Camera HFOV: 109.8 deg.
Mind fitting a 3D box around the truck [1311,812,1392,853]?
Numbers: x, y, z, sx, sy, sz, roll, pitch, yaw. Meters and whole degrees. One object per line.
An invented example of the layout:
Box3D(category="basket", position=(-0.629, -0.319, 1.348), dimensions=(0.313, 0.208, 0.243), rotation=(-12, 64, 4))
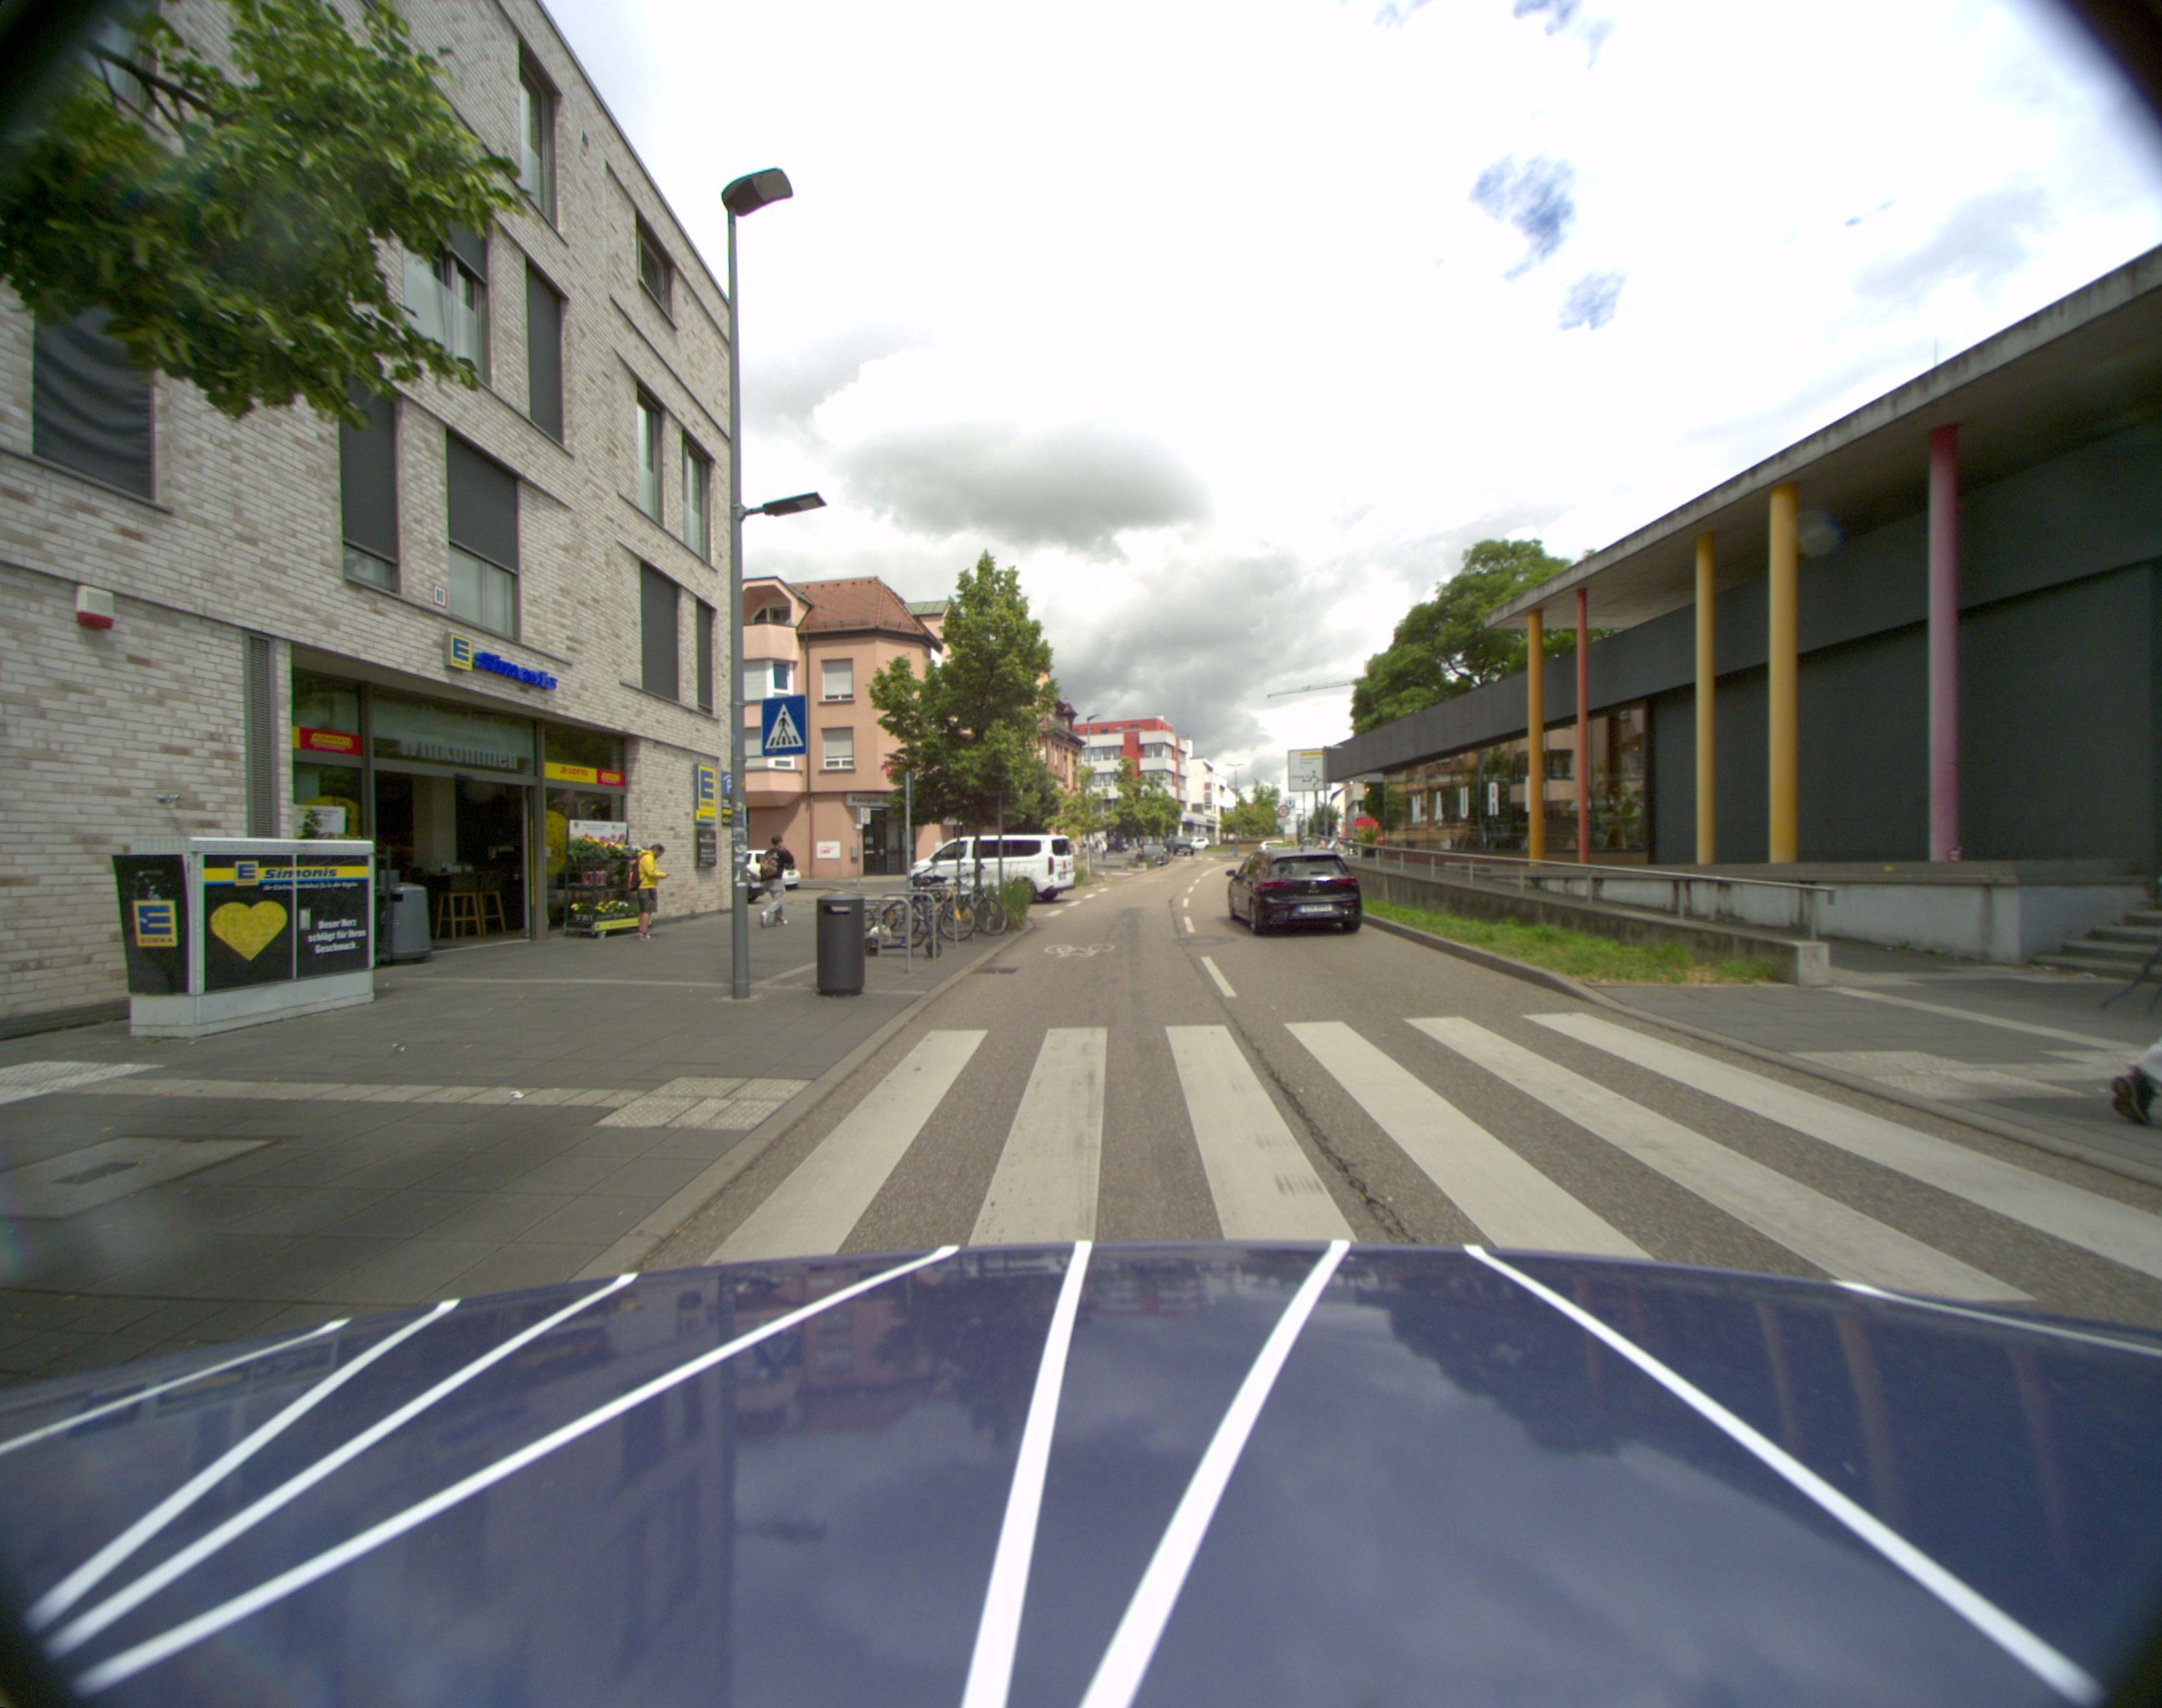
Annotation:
Box3D(category="truck", position=(27.630, -2.229, 77.269), dimensions=(10.867, 3.821, 2.675), rotation=(-4, 3, -40))

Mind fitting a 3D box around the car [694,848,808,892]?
Box3D(category="car", position=(-11.904, 0.549, 27.467), dimensions=(3.386, 1.468, 1.719), rotation=(1, 1, 11))

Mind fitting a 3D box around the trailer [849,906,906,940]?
Box3D(category="trailer", position=(-3.732, 1.258, 13.970), dimensions=(0.721, 0.525, 0.812), rotation=(-1, 1, 9))

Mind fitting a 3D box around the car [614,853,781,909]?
Box3D(category="car", position=(-10.911, 0.738, 21.777), dimensions=(3.902, 1.468, 1.784), rotation=(1, 1, 5))

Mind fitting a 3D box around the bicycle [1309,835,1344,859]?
Box3D(category="bicycle", position=(11.533, -0.326, 35.708), dimensions=(1.549, 1.121, 0.534), rotation=(0, 1, 13))

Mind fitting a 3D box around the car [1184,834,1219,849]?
Box3D(category="car", position=(14.227, -1.447, 89.374), dimensions=(4.007, 1.653, 1.839), rotation=(-4, 3, -39))

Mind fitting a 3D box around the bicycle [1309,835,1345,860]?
Box3D(category="bicycle", position=(11.281, -0.300, 34.879), dimensions=(1.549, 1.121, 0.534), rotation=(0, 1, 13))

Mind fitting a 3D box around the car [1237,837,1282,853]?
Box3D(category="car", position=(16.890, -0.879, 72.098), dimensions=(4.047, 1.391, 1.817), rotation=(-2, 2, 11))

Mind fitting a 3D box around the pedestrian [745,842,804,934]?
Box3D(category="pedestrian", position=(-5.929, 0.636, 14.738), dimensions=(0.659, 1.731, 1.018), rotation=(0, 1, 4))

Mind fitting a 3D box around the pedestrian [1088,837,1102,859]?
Box3D(category="pedestrian", position=(1.036, -0.427, 57.634), dimensions=(0.738, 1.631, 0.677), rotation=(0, 3, 38))

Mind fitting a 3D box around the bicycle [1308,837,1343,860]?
Box3D(category="bicycle", position=(11.672, -0.264, 36.305), dimensions=(1.549, 1.121, 0.534), rotation=(0, 1, 13))

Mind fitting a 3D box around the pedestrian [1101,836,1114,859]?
Box3D(category="pedestrian", position=(2.031, -0.500, 57.840), dimensions=(0.696, 1.649, 0.741), rotation=(-1, 3, 24))

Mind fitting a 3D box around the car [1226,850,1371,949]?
Box3D(category="car", position=(3.740, 0.698, 13.769), dimensions=(1.776, 1.455, 4.236), rotation=(-2, 1, 6))

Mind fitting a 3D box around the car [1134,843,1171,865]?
Box3D(category="car", position=(5.033, -0.006, 52.835), dimensions=(1.996, 1.406, 4.739), rotation=(0, 1, 13))

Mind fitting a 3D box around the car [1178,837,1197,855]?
Box3D(category="car", position=(10.362, -0.829, 73.868), dimensions=(1.802, 1.571, 4.001), rotation=(-2, 2, 9))

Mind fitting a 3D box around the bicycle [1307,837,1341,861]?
Box3D(category="bicycle", position=(11.875, -0.245, 37.151), dimensions=(1.549, 1.121, 0.534), rotation=(0, 1, 13))

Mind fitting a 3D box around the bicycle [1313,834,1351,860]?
Box3D(category="bicycle", position=(11.154, -0.315, 33.839), dimensions=(1.549, 1.121, 0.534), rotation=(0, 1, 13))

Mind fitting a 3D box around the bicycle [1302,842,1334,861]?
Box3D(category="bicycle", position=(13.691, -0.148, 43.904), dimensions=(1.689, 1.075, 0.515), rotation=(0, 0, 8))

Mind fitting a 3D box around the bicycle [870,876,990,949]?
Box3D(category="bicycle", position=(-2.505, 0.957, 12.724), dimensions=(1.826, 1.125, 0.756), rotation=(1, 2, 6))

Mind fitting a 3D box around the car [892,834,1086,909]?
Box3D(category="car", position=(-2.760, 0.523, 22.880), dimensions=(5.382, 2.002, 2.002), rotation=(-2, 1, 20))

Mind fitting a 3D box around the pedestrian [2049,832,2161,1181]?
Box3D(category="pedestrian", position=(5.312, 0.683, 3.395), dimensions=(0.930, 1.556, 0.814), rotation=(-2, 2, -3))

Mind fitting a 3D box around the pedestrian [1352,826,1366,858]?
Box3D(category="pedestrian", position=(14.256, -0.592, 39.000), dimensions=(0.660, 1.619, 0.801), rotation=(-1, 0, 20))

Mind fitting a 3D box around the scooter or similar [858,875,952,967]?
Box3D(category="scooter or similar", position=(-2.499, 0.941, 10.823), dimensions=(1.199, 1.242, 0.494), rotation=(1, 2, 6))

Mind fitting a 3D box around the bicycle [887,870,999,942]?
Box3D(category="bicycle", position=(-2.456, 0.914, 13.592), dimensions=(1.826, 1.194, 0.756), rotation=(1, 2, 6))

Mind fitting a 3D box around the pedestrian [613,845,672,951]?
Box3D(category="pedestrian", position=(-7.218, 0.696, 12.518), dimensions=(0.658, 1.683, 0.633), rotation=(1, 2, 39))
